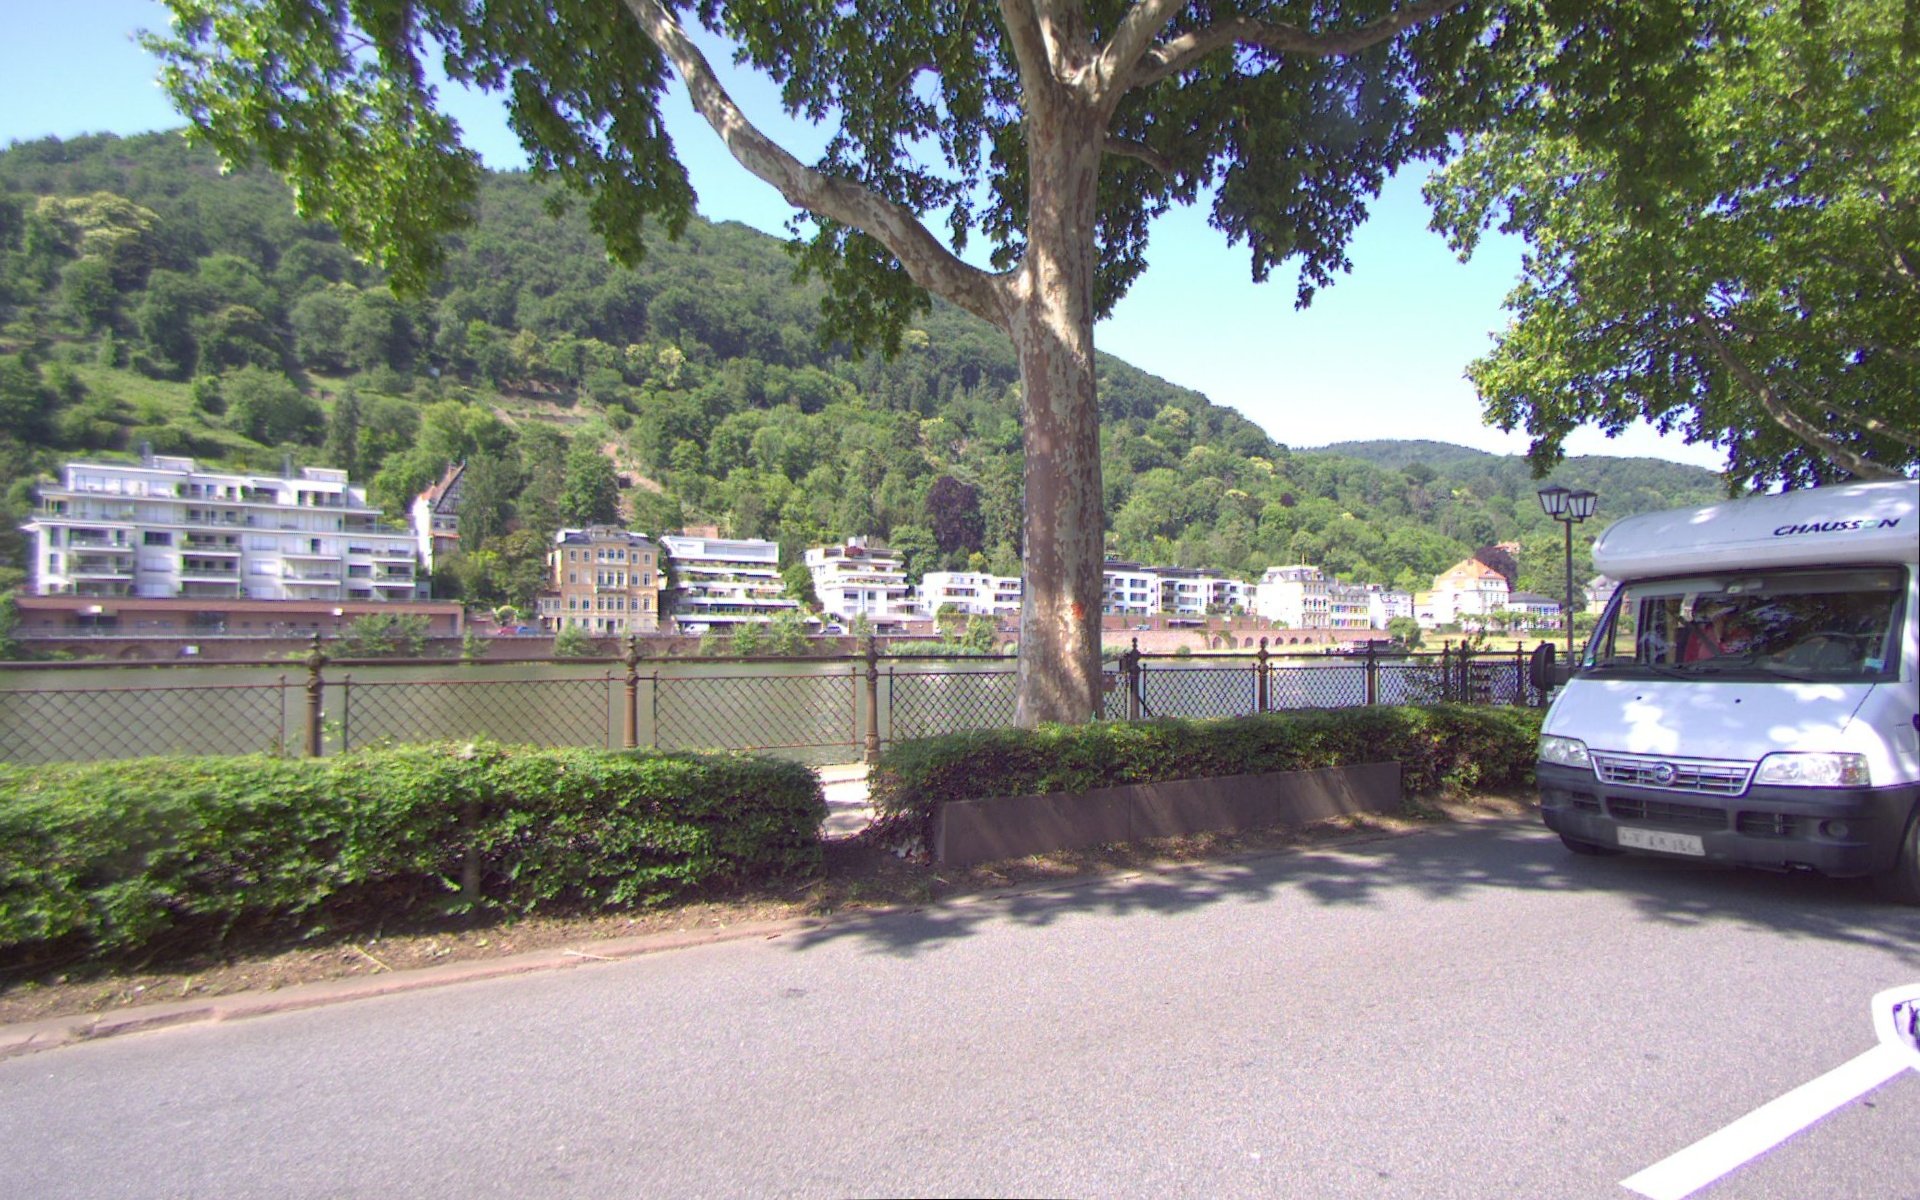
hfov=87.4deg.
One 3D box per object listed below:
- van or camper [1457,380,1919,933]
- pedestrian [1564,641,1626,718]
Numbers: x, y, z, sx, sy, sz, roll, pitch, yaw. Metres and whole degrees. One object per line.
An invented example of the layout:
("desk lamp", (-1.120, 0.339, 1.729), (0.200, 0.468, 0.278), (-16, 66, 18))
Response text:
("van or camper", (6.681, 0.410, 7.495), (6.192, 2.696, 2.311), (2, -4, -31))
("pedestrian", (11.471, 1.421, 18.154), (0.649, 1.325, 0.699), (2, 0, -29))
